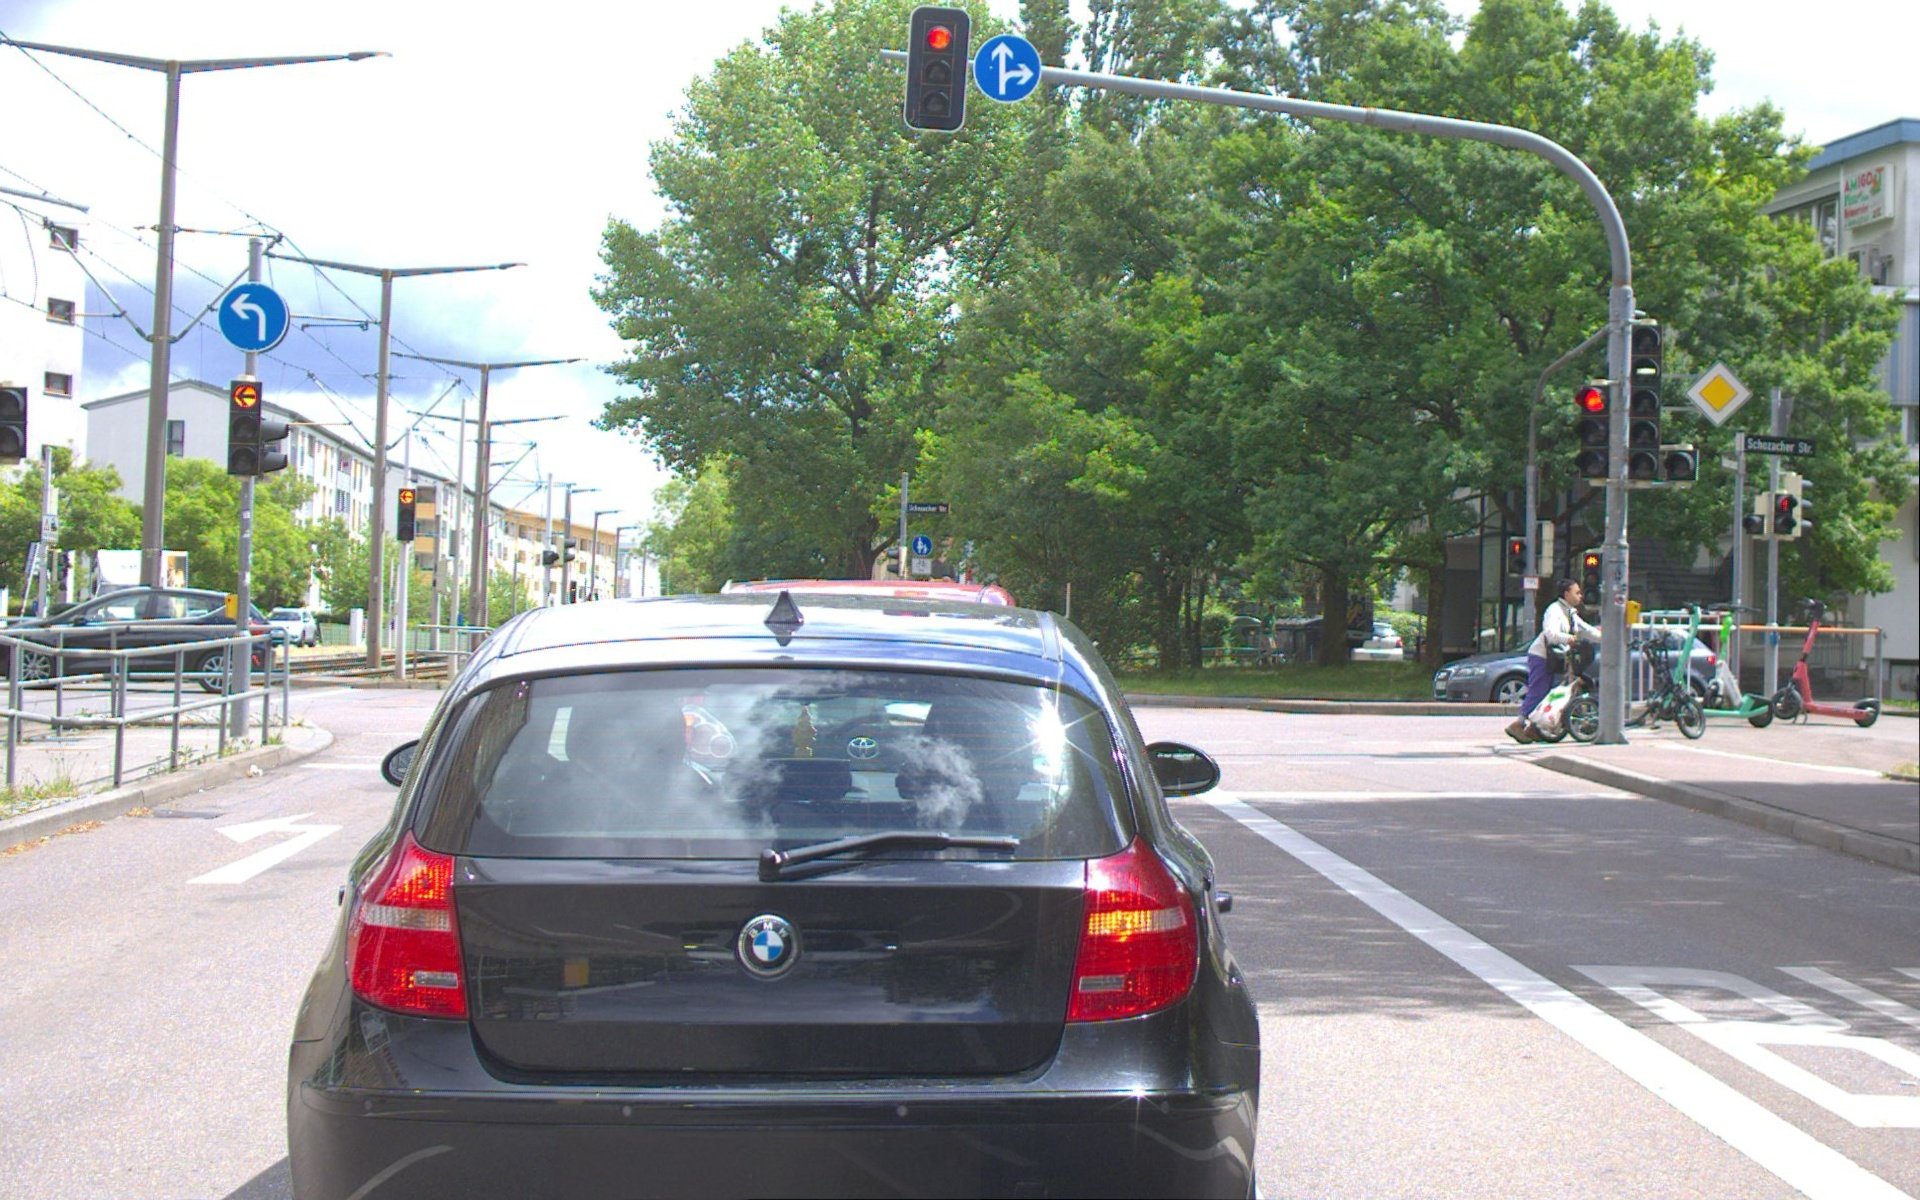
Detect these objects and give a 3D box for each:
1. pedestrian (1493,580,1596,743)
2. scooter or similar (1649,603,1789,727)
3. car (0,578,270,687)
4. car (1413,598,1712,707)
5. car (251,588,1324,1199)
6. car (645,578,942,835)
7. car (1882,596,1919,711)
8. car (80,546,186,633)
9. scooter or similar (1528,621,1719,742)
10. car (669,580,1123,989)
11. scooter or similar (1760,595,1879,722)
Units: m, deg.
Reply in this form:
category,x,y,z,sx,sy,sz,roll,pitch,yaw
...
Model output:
category,x,y,z,sx,sy,sz,roll,pitch,yaw
pedestrian,5.268,0.544,30.961,0.865,1.438,0.798,1,0,12
scooter or similar,7.378,0.626,33.403,1.287,1.185,0.385,0,0,-16
car,-11.444,0.447,47.653,3.603,1.457,1.617,0,0,-8
car,8.858,0.765,50.685,3.986,1.521,1.676,1,0,-9
car,-0.237,0.704,7.088,1.654,1.414,3.517,1,1,1
car,-0.999,0.588,21.083,1.654,1.414,3.517,1,1,-2
car,15.115,0.766,48.679,3.576,1.595,1.712,1,0,-12
car,-25.757,-0.342,107.203,2.139,2.631,5.359,1,0,-2
scooter or similar,5.939,0.719,30.724,1.780,1.047,0.410,0,1,-27
car,-0.224,0.645,13.969,1.594,1.414,3.517,1,1,0
scooter or similar,8.571,0.581,34.275,1.106,1.253,0.332,0,0,-12
